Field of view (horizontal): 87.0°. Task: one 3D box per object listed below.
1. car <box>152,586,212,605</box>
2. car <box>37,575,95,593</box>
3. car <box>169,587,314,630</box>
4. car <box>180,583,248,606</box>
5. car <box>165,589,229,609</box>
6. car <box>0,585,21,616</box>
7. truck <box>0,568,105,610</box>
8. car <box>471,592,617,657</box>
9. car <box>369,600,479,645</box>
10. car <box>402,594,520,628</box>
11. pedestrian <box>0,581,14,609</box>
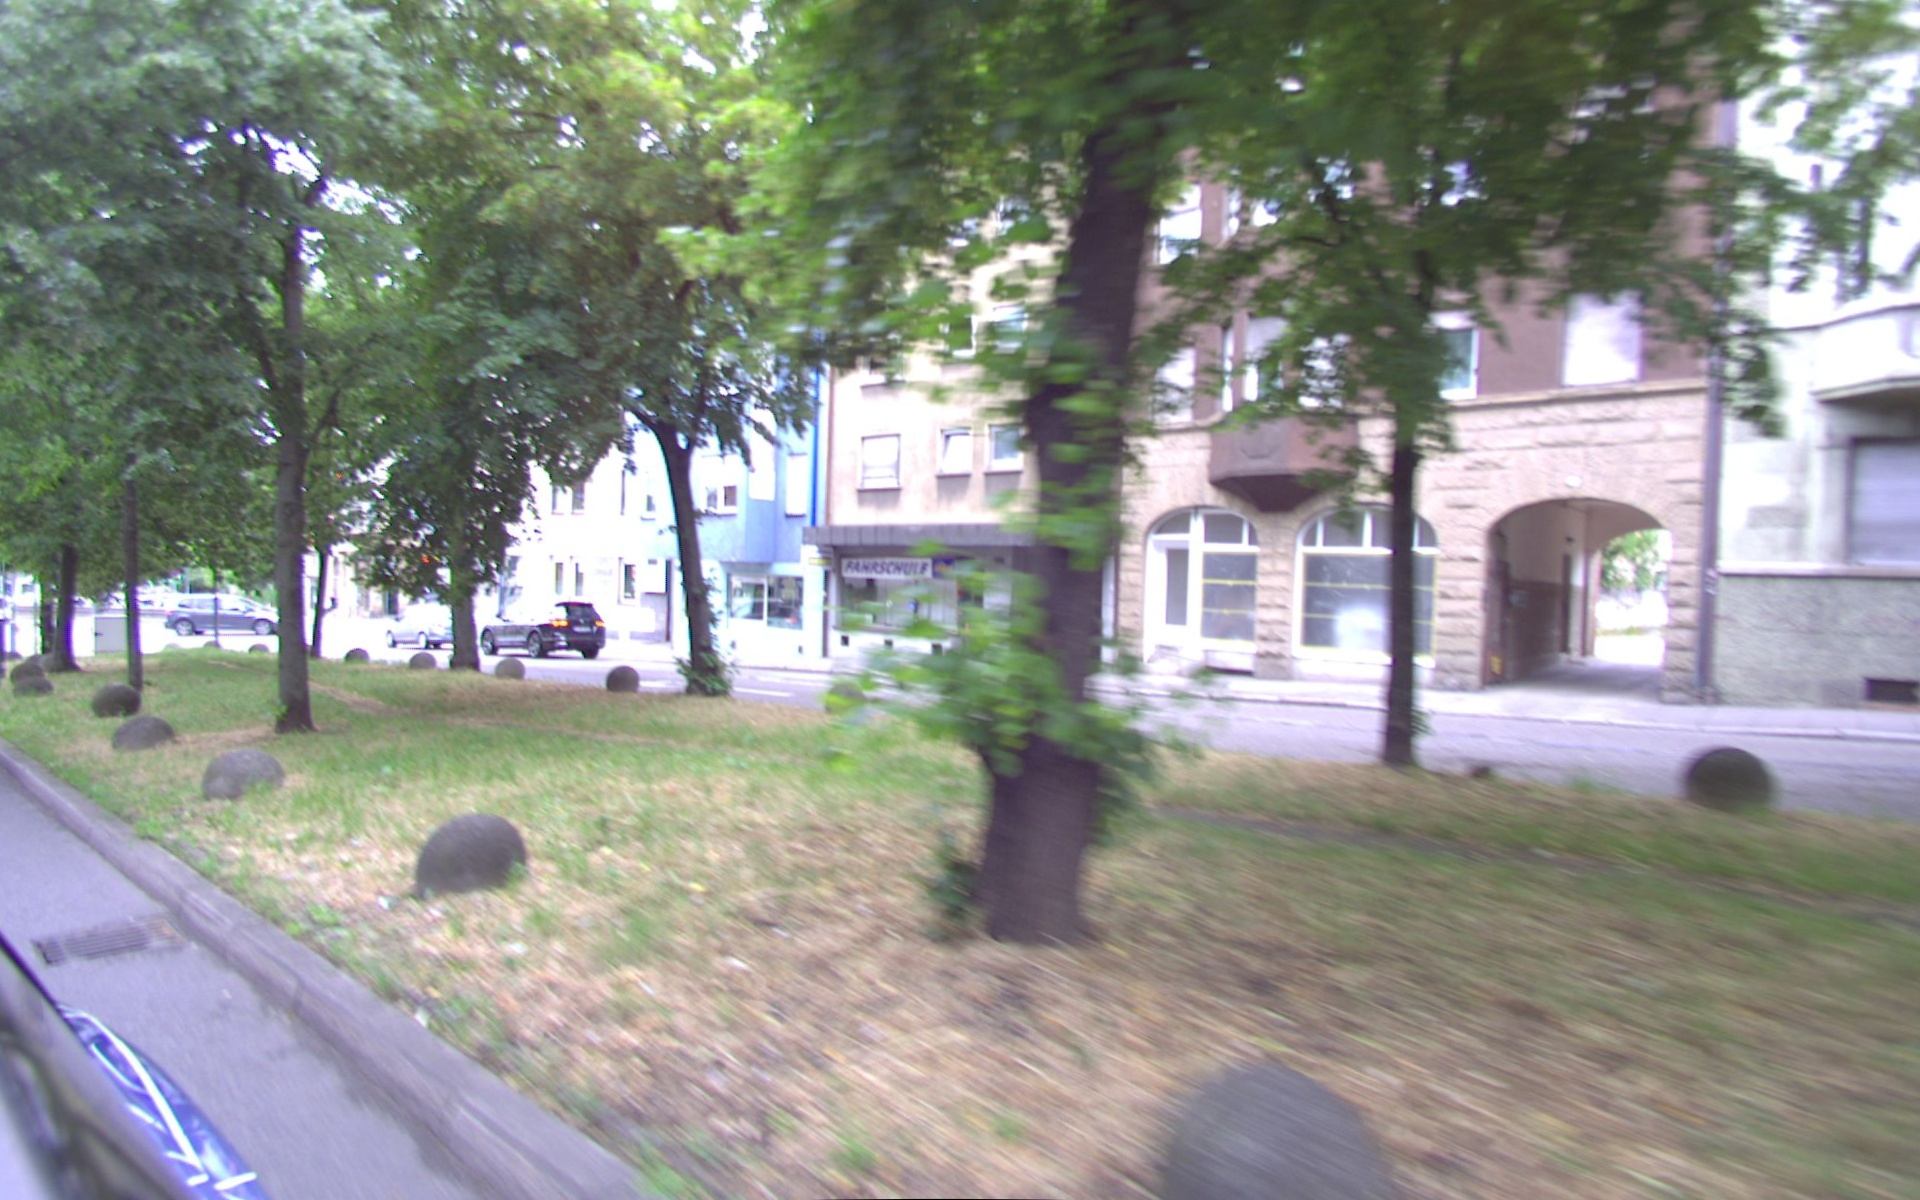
[{"bbox_3d":[-70.681,-0.396,91.980,3.868,1.610,1.898,1,2,-12],"label":"car"},{"bbox_3d":[-87.410,-1.588,99.022,1.877,1.717,3.911,2,2,17],"label":"car"},{"bbox_3d":[-30.255,0.353,42.766,4.647,1.626,1.865,2,1,-20],"label":"car"},{"bbox_3d":[-57.943,-0.426,78.655,3.874,1.610,1.895,1,2,-4],"label":"car"},{"bbox_3d":[-64.636,-0.097,85.771,3.868,1.610,1.898,1,2,-12],"label":"car"},{"bbox_3d":[-47.475,0.000,48.231,3.910,1.441,1.795,1,2,3],"label":"car"},{"bbox_3d":[-63.610,-0.694,70.222,2.739,2.744,6.442,0,-1,7],"label":"truck"},{"bbox_3d":[-11.855,0.654,28.691,4.676,1.649,1.797,1,-1,40],"label":"car"},{"bbox_3d":[-17.863,0.717,33.669,4.289,1.417,1.653,0,-1,39],"label":"car"},{"bbox_3d":[-23.240,0.473,47.199,4.663,1.430,1.845,0,2,-39],"label":"car"},{"bbox_3d":[-51.030,-0.271,53.979,0.594,1.443,0.604,1,2,8],"label":"pedestrian"}]
